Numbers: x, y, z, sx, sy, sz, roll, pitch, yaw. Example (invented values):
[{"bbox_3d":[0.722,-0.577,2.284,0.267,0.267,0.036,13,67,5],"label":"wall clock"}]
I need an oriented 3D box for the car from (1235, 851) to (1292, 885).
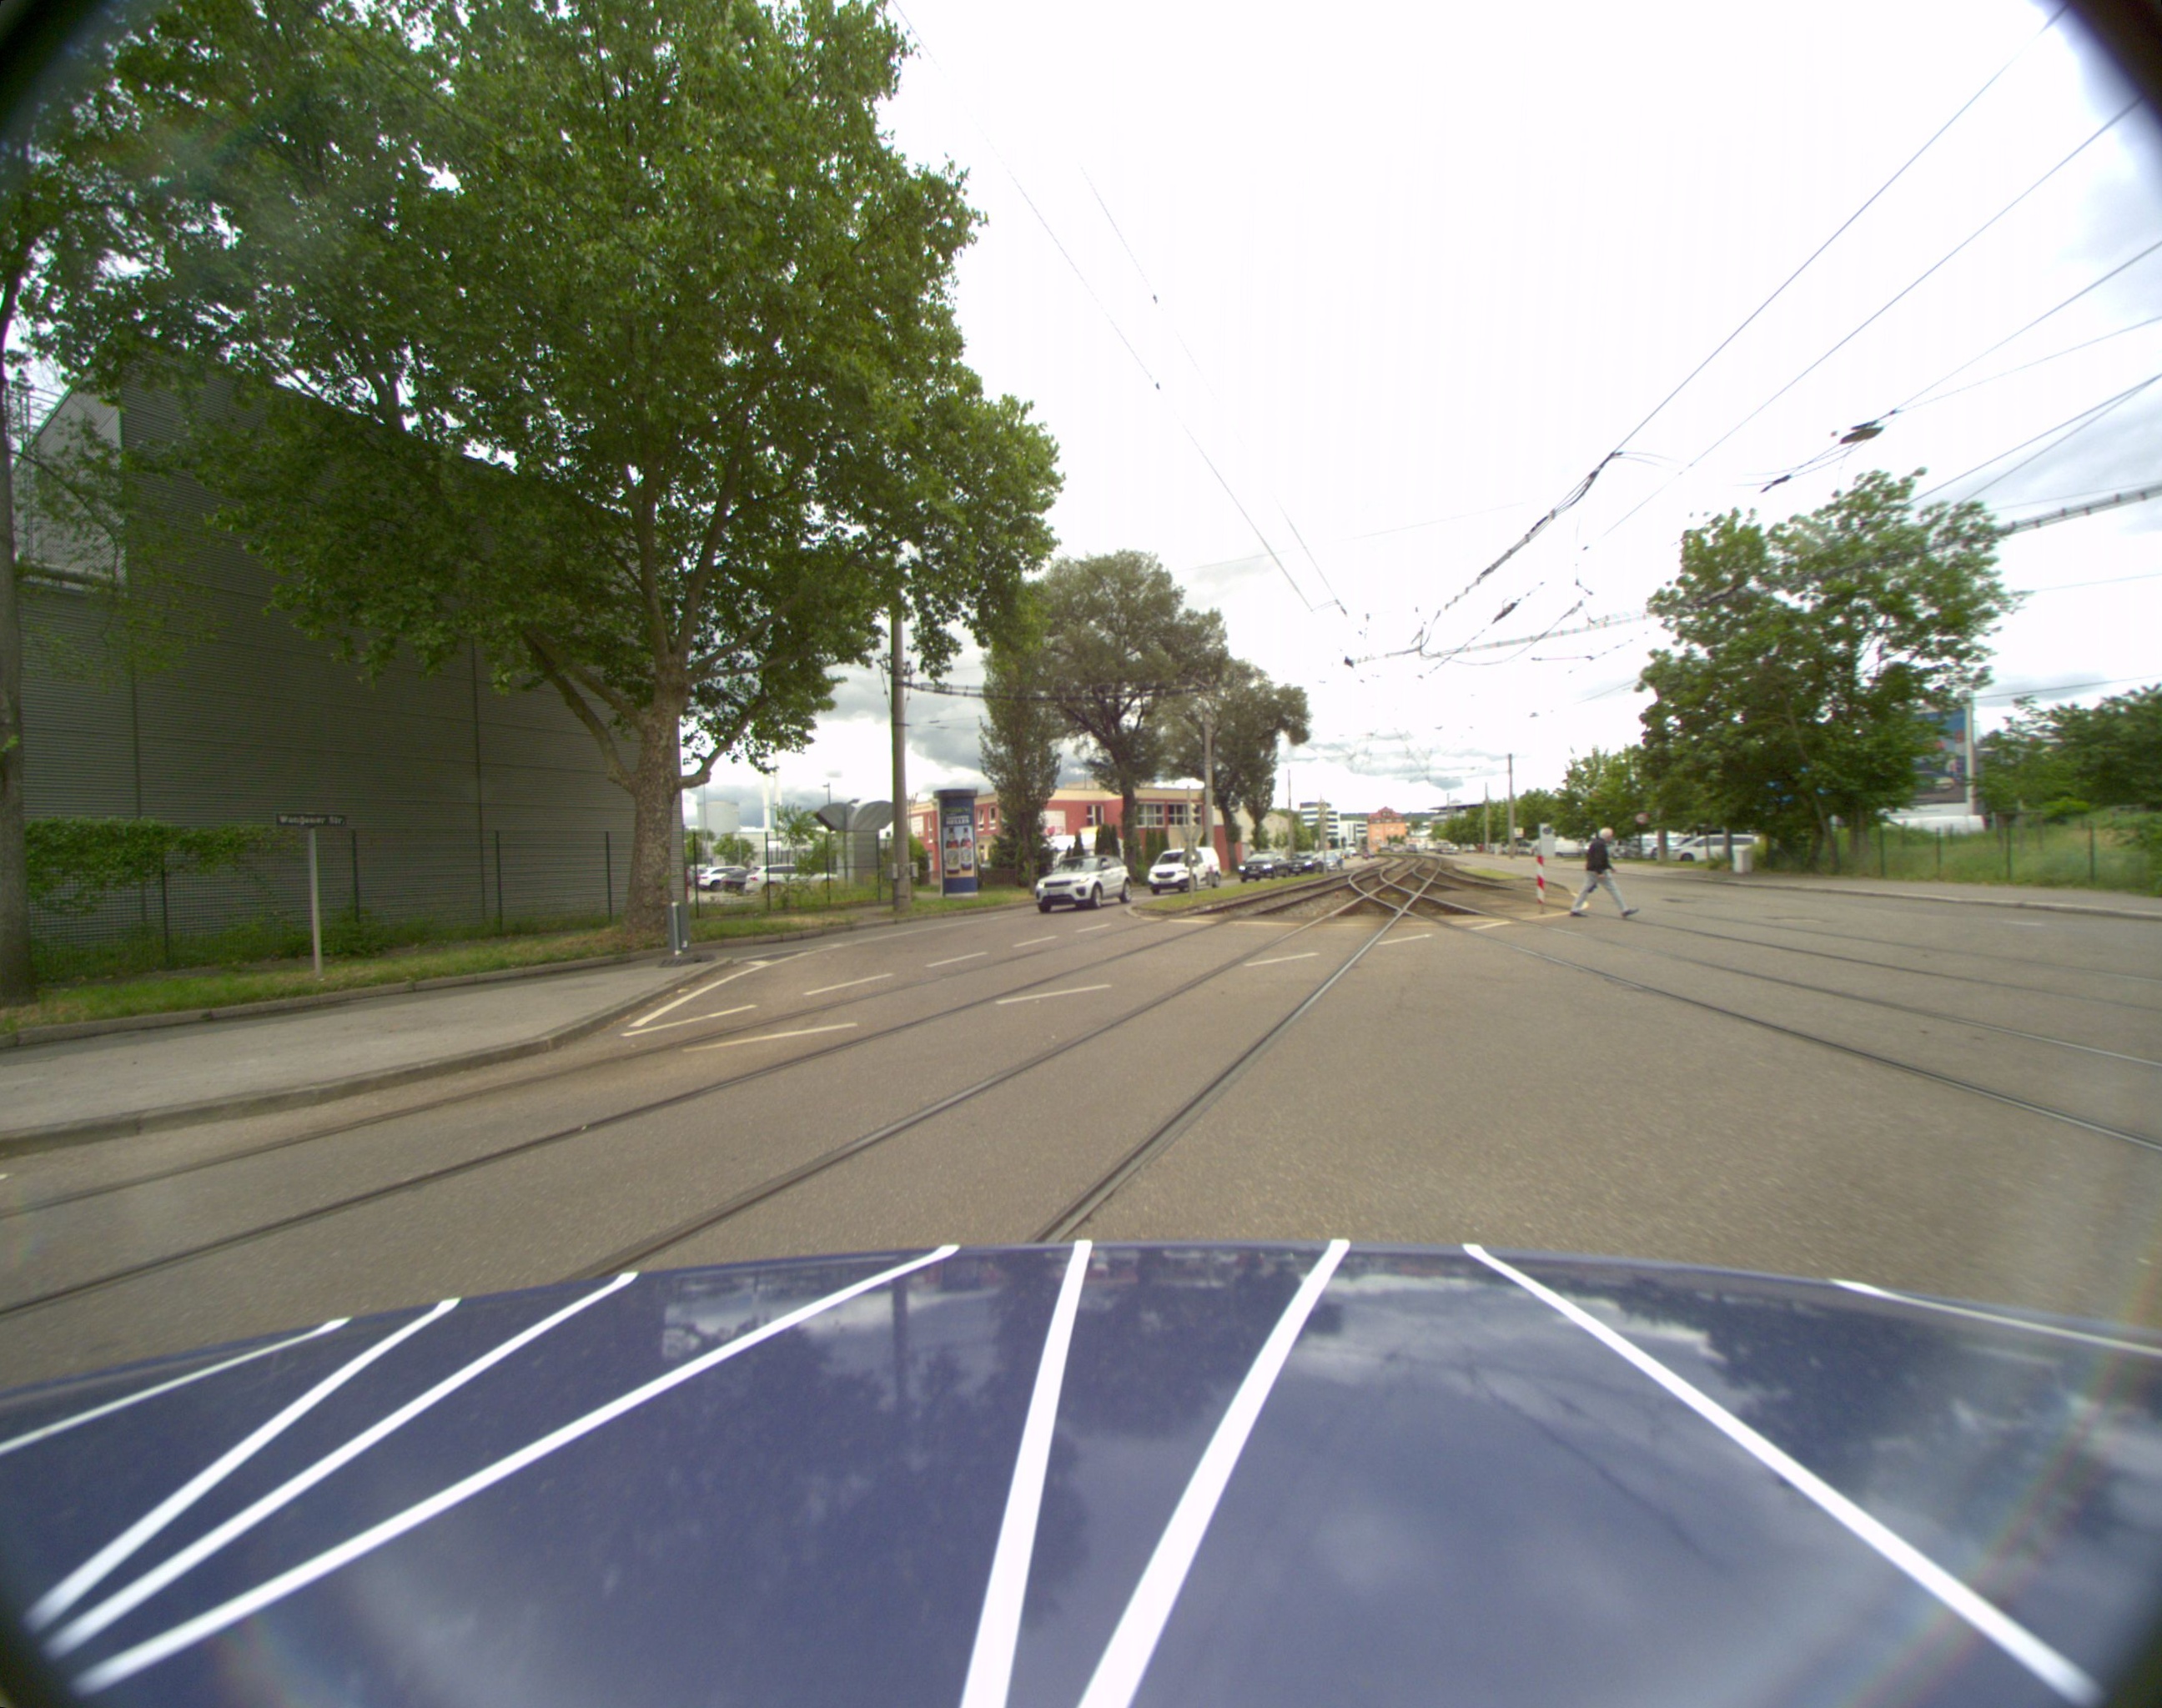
[{"bbox_3d":[9.909,0.699,41.034,1.995,1.547,4.568,-4,0,26],"label":"car"}]

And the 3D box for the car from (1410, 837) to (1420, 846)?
[{"bbox_3d":[85.042,-3.211,193.265,1.996,2.001,4.006,-5,-1,21],"label":"car"}]

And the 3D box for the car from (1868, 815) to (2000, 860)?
[{"bbox_3d":[56.787,-1.063,50.777,1.984,2.446,5.651,-4,-1,-43],"label":"car"}]

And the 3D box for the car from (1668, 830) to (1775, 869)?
[{"bbox_3d":[44.549,-0.306,53.044,5.260,2.254,2.003,-5,-1,25],"label":"car"}]

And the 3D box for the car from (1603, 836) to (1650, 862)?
[{"bbox_3d":[49.316,-0.423,68.788,2.138,2.103,4.783,-5,-1,20],"label":"car"}]

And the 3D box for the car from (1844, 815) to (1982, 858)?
[{"bbox_3d":[53.673,-1.091,49.144,2.057,2.254,5.839,-4,-1,-40],"label":"car"}]

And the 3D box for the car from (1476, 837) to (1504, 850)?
[{"bbox_3d":[82.121,-2.147,152.586,4.630,2.195,2.112,-5,-1,20],"label":"car"}]

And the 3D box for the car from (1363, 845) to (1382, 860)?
[{"bbox_3d":[37.029,-0.228,96.470,1.866,1.739,4.006,-5,-1,23],"label":"car"}]

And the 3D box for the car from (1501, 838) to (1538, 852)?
[{"bbox_3d":[69.947,-1.477,121.318,4.630,1.829,2.112,-5,-1,20],"label":"car"}]

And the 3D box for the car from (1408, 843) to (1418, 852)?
[{"bbox_3d":[73.422,-1.393,168.037,1.902,1.708,4.142,-4,1,26],"label":"car"}]

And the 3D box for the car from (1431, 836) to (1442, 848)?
[{"bbox_3d":[95.067,-3.216,203.219,2.406,2.930,4.756,-5,-1,26],"label":"car"}]

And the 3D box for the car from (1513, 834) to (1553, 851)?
[{"bbox_3d":[65.631,-1.658,110.370,4.630,2.195,2.112,-5,-1,20],"label":"car"}]

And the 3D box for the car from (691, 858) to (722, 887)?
[{"bbox_3d":[-42.628,2.125,86.415,1.977,2.945,5.577,-4,-1,-37],"label":"car"}]

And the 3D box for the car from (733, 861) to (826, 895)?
[{"bbox_3d":[-16.898,1.328,42.653,4.509,1.656,1.995,-2,1,-35],"label":"car"}]

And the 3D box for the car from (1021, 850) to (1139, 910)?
[{"bbox_3d":[0.082,0.814,23.664,1.995,1.679,4.277,-2,-3,25],"label":"car"}]

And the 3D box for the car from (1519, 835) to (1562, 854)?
[{"bbox_3d":[63.743,-1.333,105.454,4.630,2.195,2.112,-5,-1,20],"label":"car"}]

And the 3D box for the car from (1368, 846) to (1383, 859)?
[{"bbox_3d":[44.913,-0.196,115.755,1.866,1.739,4.006,-5,-1,23],"label":"car"}]

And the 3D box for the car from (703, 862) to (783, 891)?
[{"bbox_3d":[-22.509,1.471,50.692,4.509,1.656,1.995,-2,1,-35],"label":"car"}]

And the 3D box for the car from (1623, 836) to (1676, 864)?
[{"bbox_3d":[46.985,-0.347,62.934,2.138,2.103,4.783,-5,-1,21],"label":"car"}]

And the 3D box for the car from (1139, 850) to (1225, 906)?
[{"bbox_3d":[4.358,0.944,31.984,1.995,1.990,5.042,-4,0,26],"label":"car"}]

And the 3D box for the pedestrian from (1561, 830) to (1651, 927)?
[{"bbox_3d":[10.065,0.469,14.624,1.119,1.749,0.814,-4,0,16],"label":"pedestrian"}]

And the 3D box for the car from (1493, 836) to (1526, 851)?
[{"bbox_3d":[74.906,-1.878,132.777,4.630,2.195,2.112,-5,-1,20],"label":"car"}]

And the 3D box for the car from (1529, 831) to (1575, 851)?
[{"bbox_3d":[62.233,-1.701,100.469,4.630,2.195,2.112,-5,-1,20],"label":"car"}]

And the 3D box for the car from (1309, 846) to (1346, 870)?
[{"bbox_3d":[18.779,0.267,57.864,1.995,1.547,4.568,-4,0,26],"label":"car"}]

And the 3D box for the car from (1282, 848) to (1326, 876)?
[{"bbox_3d":[14.562,0.483,49.447,1.995,1.547,4.568,-4,0,26],"label":"car"}]

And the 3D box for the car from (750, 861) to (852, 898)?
[{"bbox_3d":[-14.333,1.281,39.037,4.509,1.656,1.995,-2,1,-35],"label":"car"}]

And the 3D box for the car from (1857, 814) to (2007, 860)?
[{"bbox_3d":[51.434,-0.960,46.091,2.057,2.254,5.850,-4,-1,-40],"label":"car"}]

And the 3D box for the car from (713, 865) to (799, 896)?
[{"bbox_3d":[-20.118,1.582,47.081,4.509,1.656,1.995,-2,1,-35],"label":"car"}]

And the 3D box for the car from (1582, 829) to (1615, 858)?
[{"bbox_3d":[59.630,-1.225,87.680,2.316,2.993,6.169,-5,-1,28],"label":"car"}]
